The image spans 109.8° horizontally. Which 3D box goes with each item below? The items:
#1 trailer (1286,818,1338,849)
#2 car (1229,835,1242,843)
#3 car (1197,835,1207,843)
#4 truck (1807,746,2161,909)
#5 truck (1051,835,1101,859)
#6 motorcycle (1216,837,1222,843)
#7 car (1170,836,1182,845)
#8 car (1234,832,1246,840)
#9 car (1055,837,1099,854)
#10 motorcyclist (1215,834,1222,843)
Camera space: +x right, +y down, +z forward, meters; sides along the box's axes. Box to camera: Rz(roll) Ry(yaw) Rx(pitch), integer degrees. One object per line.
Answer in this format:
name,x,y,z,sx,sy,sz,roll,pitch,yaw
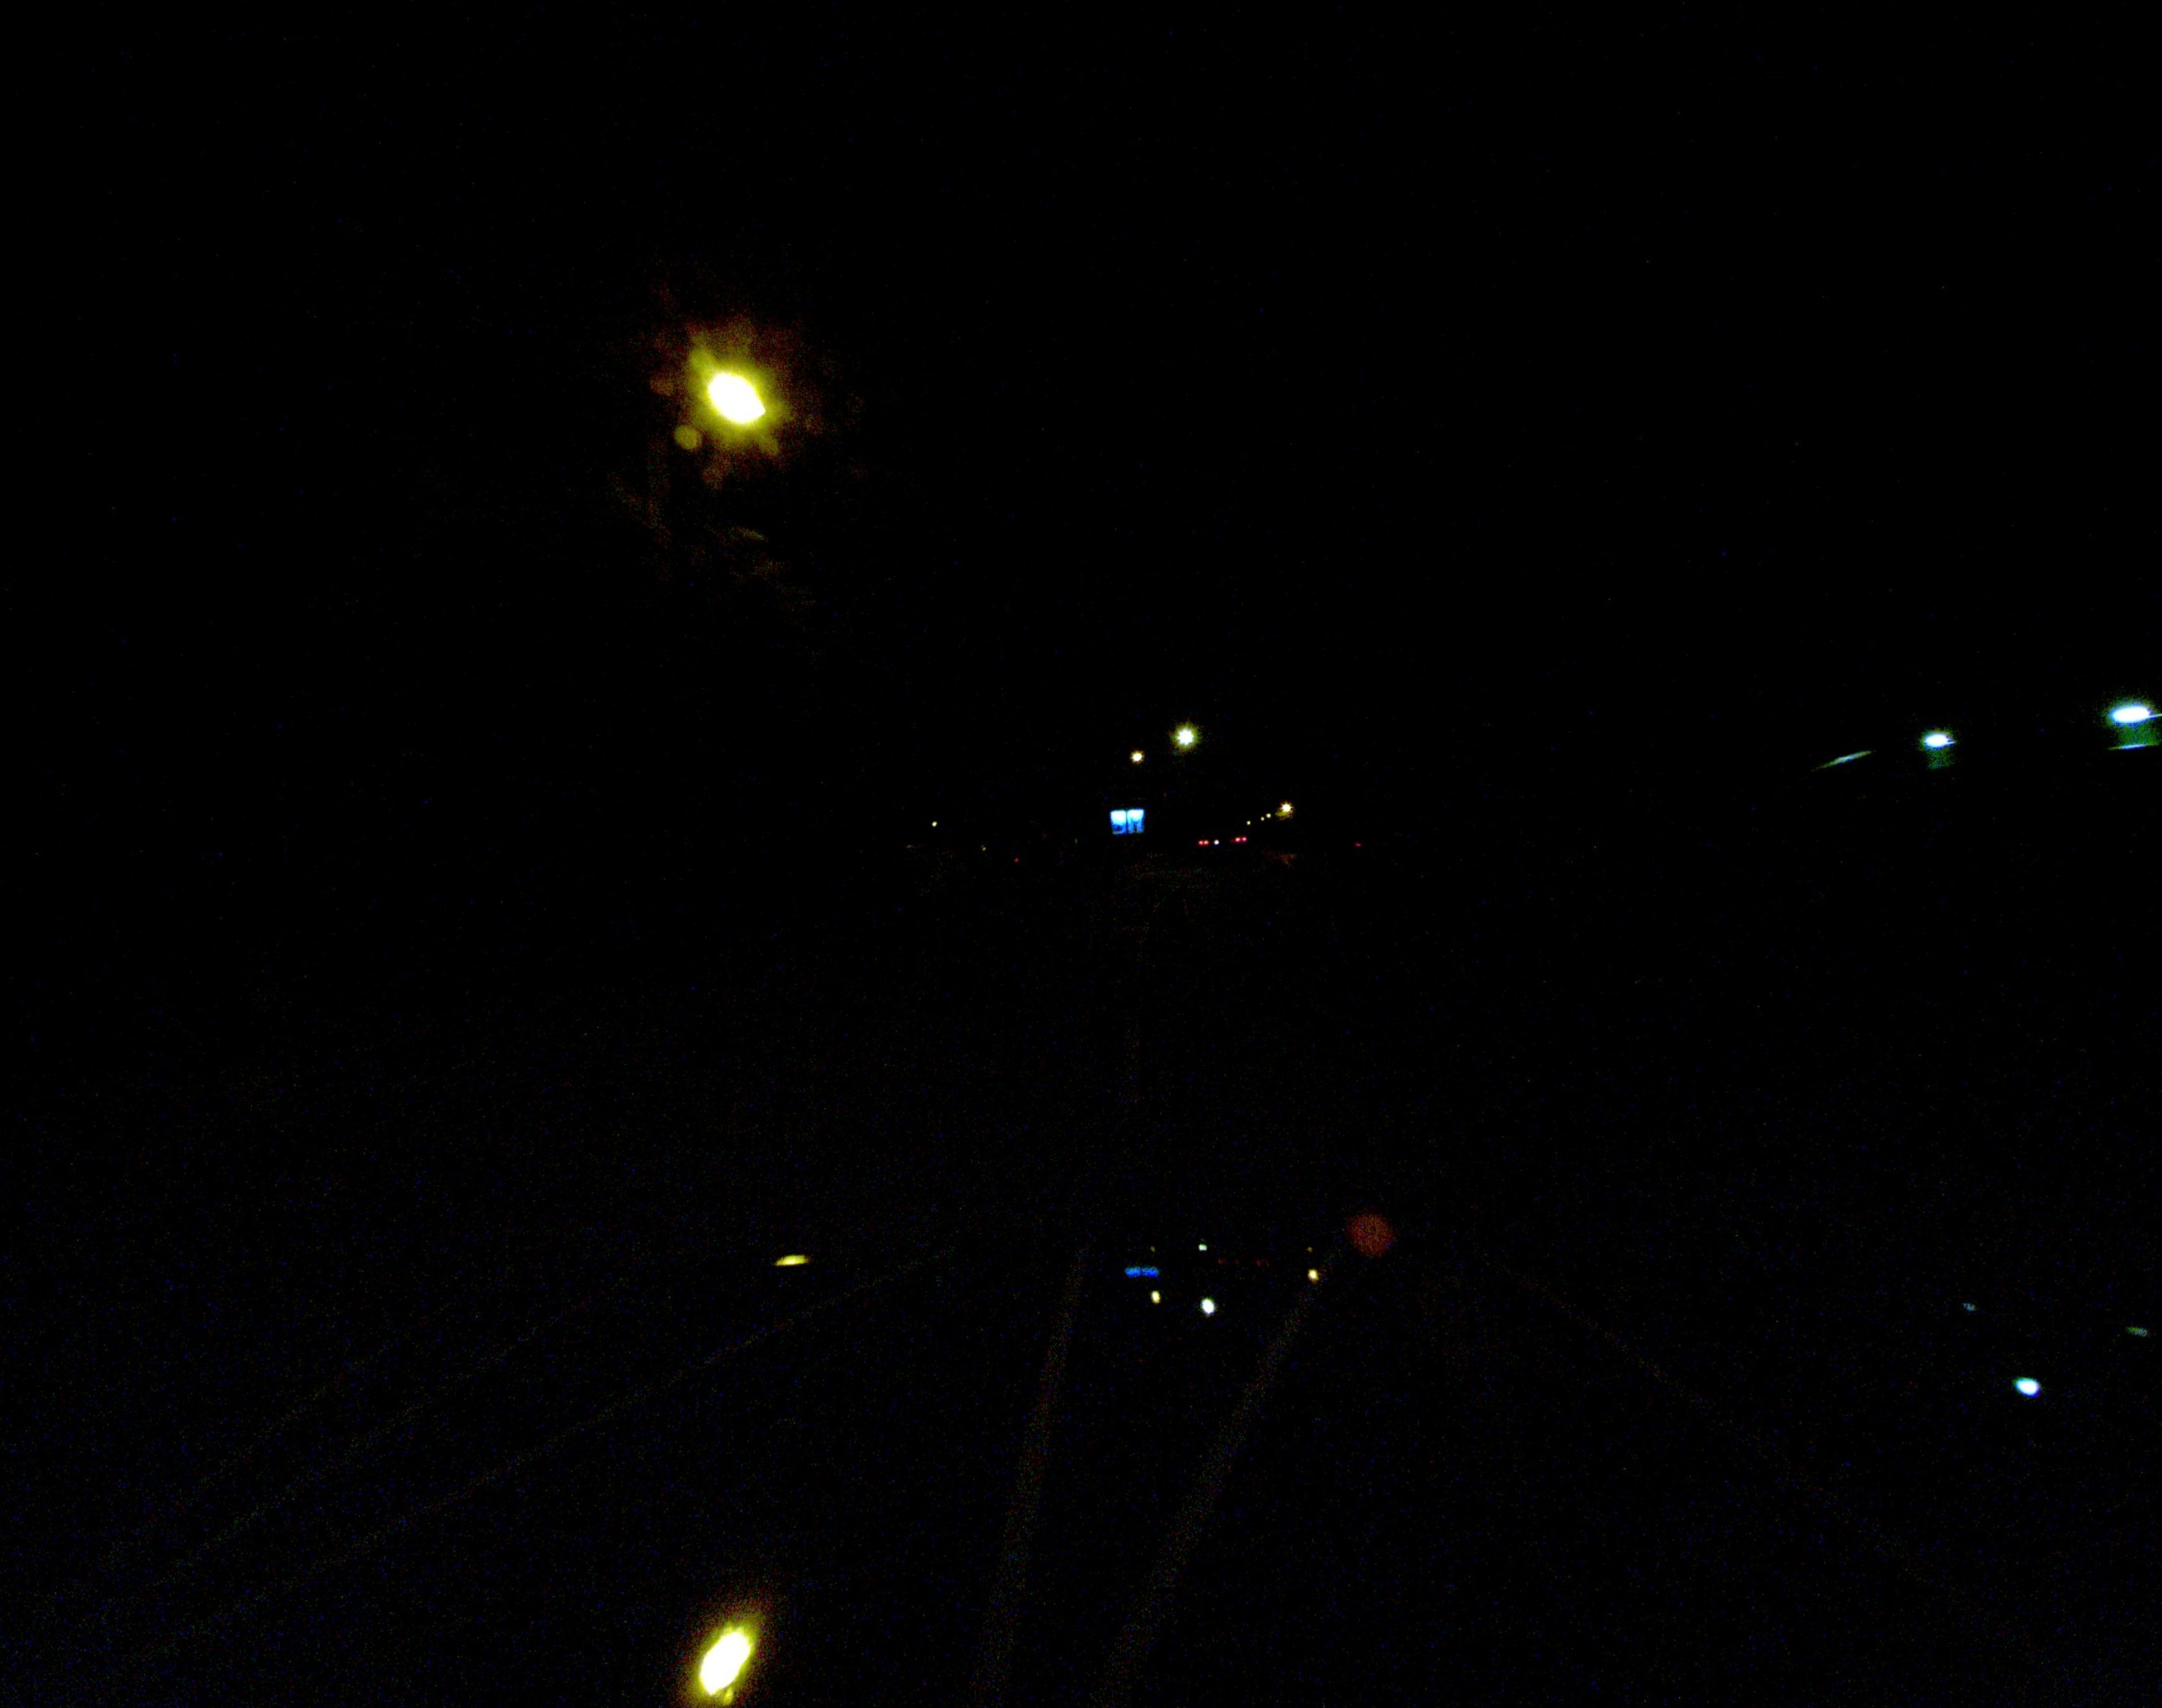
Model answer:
trailer,21.467,-1.903,70.859,4.355,2.704,2.001,-2,1,11
car,31.603,-3.105,155.572,1.998,1.371,4.598,-4,1,3
car,28.974,-3.637,181.458,1.997,1.617,4.755,-4,1,11
truck,13.749,-0.410,10.877,1.997,1.889,5.319,-4,1,7
truck,-0.597,-0.848,94.295,5.540,2.585,2.474,-4,1,11
motorcycle,28.922,-2.915,159.685,0.999,1.297,2.827,-4,1,6
car,16.879,-2.395,135.157,1.938,1.543,4.002,-4,0,8
car,31.268,-3.457,149.734,1.852,1.436,4.918,-4,1,7
car,-0.483,-1.133,96.801,5.081,1.826,1.991,-4,1,15
motorcyclist,28.838,-3.306,159.431,1.136,1.889,0.834,-4,1,6
